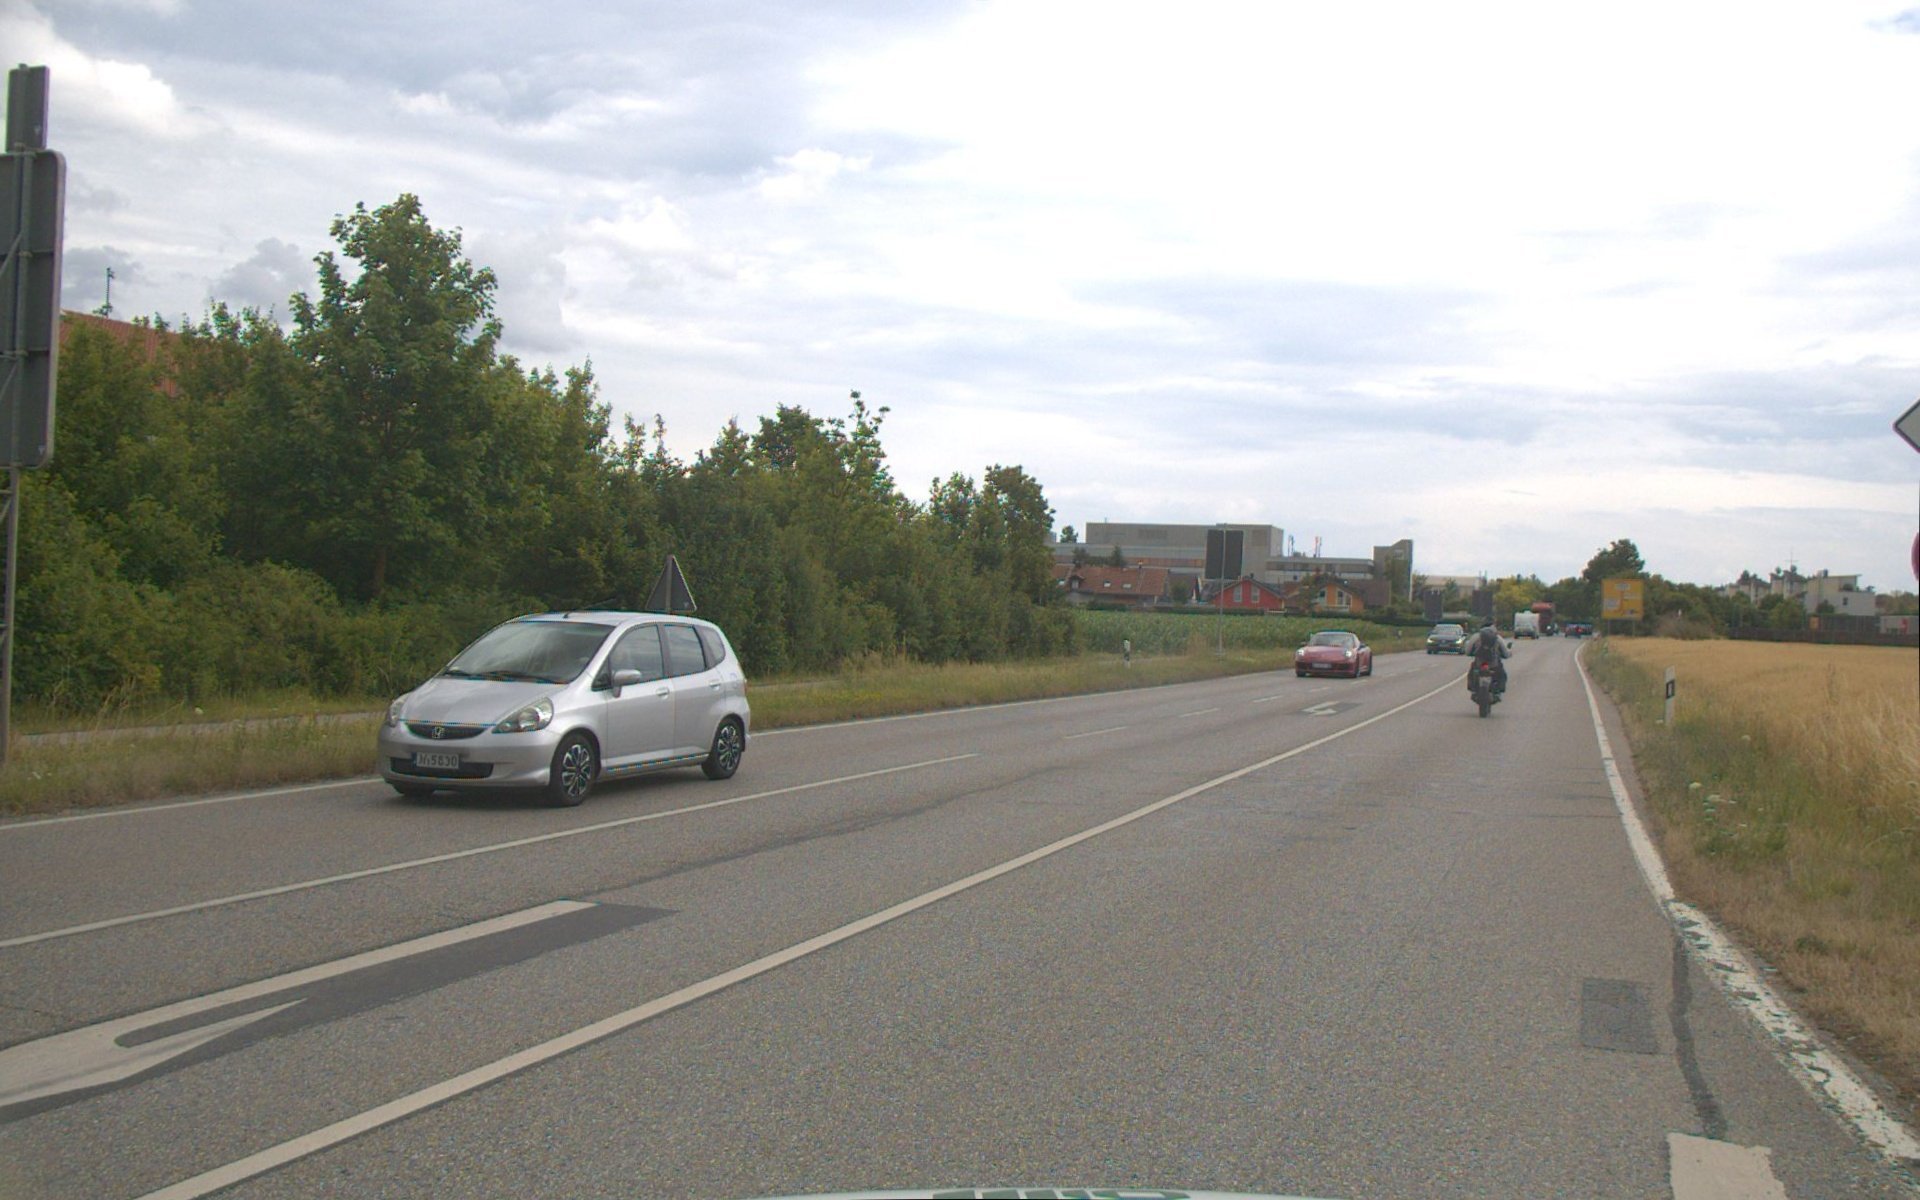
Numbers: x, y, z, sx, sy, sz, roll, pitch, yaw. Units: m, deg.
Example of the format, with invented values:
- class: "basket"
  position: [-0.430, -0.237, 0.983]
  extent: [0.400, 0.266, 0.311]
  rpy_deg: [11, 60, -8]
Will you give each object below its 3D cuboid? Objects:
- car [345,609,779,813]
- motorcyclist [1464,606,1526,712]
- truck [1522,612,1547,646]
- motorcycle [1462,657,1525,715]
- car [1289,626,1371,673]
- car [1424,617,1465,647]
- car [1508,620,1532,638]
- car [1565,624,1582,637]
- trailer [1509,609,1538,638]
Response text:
- class: "car"
  position: [-3.199, 0.827, 14.133]
  extent: [1.694, 1.457, 3.935]
  rpy_deg: [1, 0, 20]
- class: "motorcyclist"
  position: [9.445, 1.026, 29.177]
  extent: [0.922, 1.780, 1.200]
  rpy_deg: [2, 0, 21]
- class: "truck"
  position: [72.337, 3.666, 208.241]
  extent: [2.674, 4.057, 6.815]
  rpy_deg: [1, -1, 21]
- class: "motorcycle"
  position: [9.403, 1.487, 29.106]
  extent: [0.922, 0.905, 2.146]
  rpy_deg: [2, 0, 21]
- class: "car"
  position: [11.060, 1.440, 49.207]
  extent: [1.735, 1.262, 4.211]
  rpy_deg: [1, 0, 21]
- class: "car"
  position: [24.336, 1.585, 82.994]
  extent: [1.634, 1.454, 4.303]
  rpy_deg: [0, -1, 21]
- class: "car"
  position: [55.201, 2.837, 162.995]
  extent: [1.953, 1.729, 4.675]
  rpy_deg: [2, 0, 21]
- class: "car"
  position: [73.523, 3.640, 198.125]
  extent: [1.817, 1.498, 4.000]
  rpy_deg: [2, 0, 21]
- class: "trailer"
  position: [57.447, 2.409, 168.546]
  extent: [2.277, 2.777, 7.842]
  rpy_deg: [2, 0, 22]
